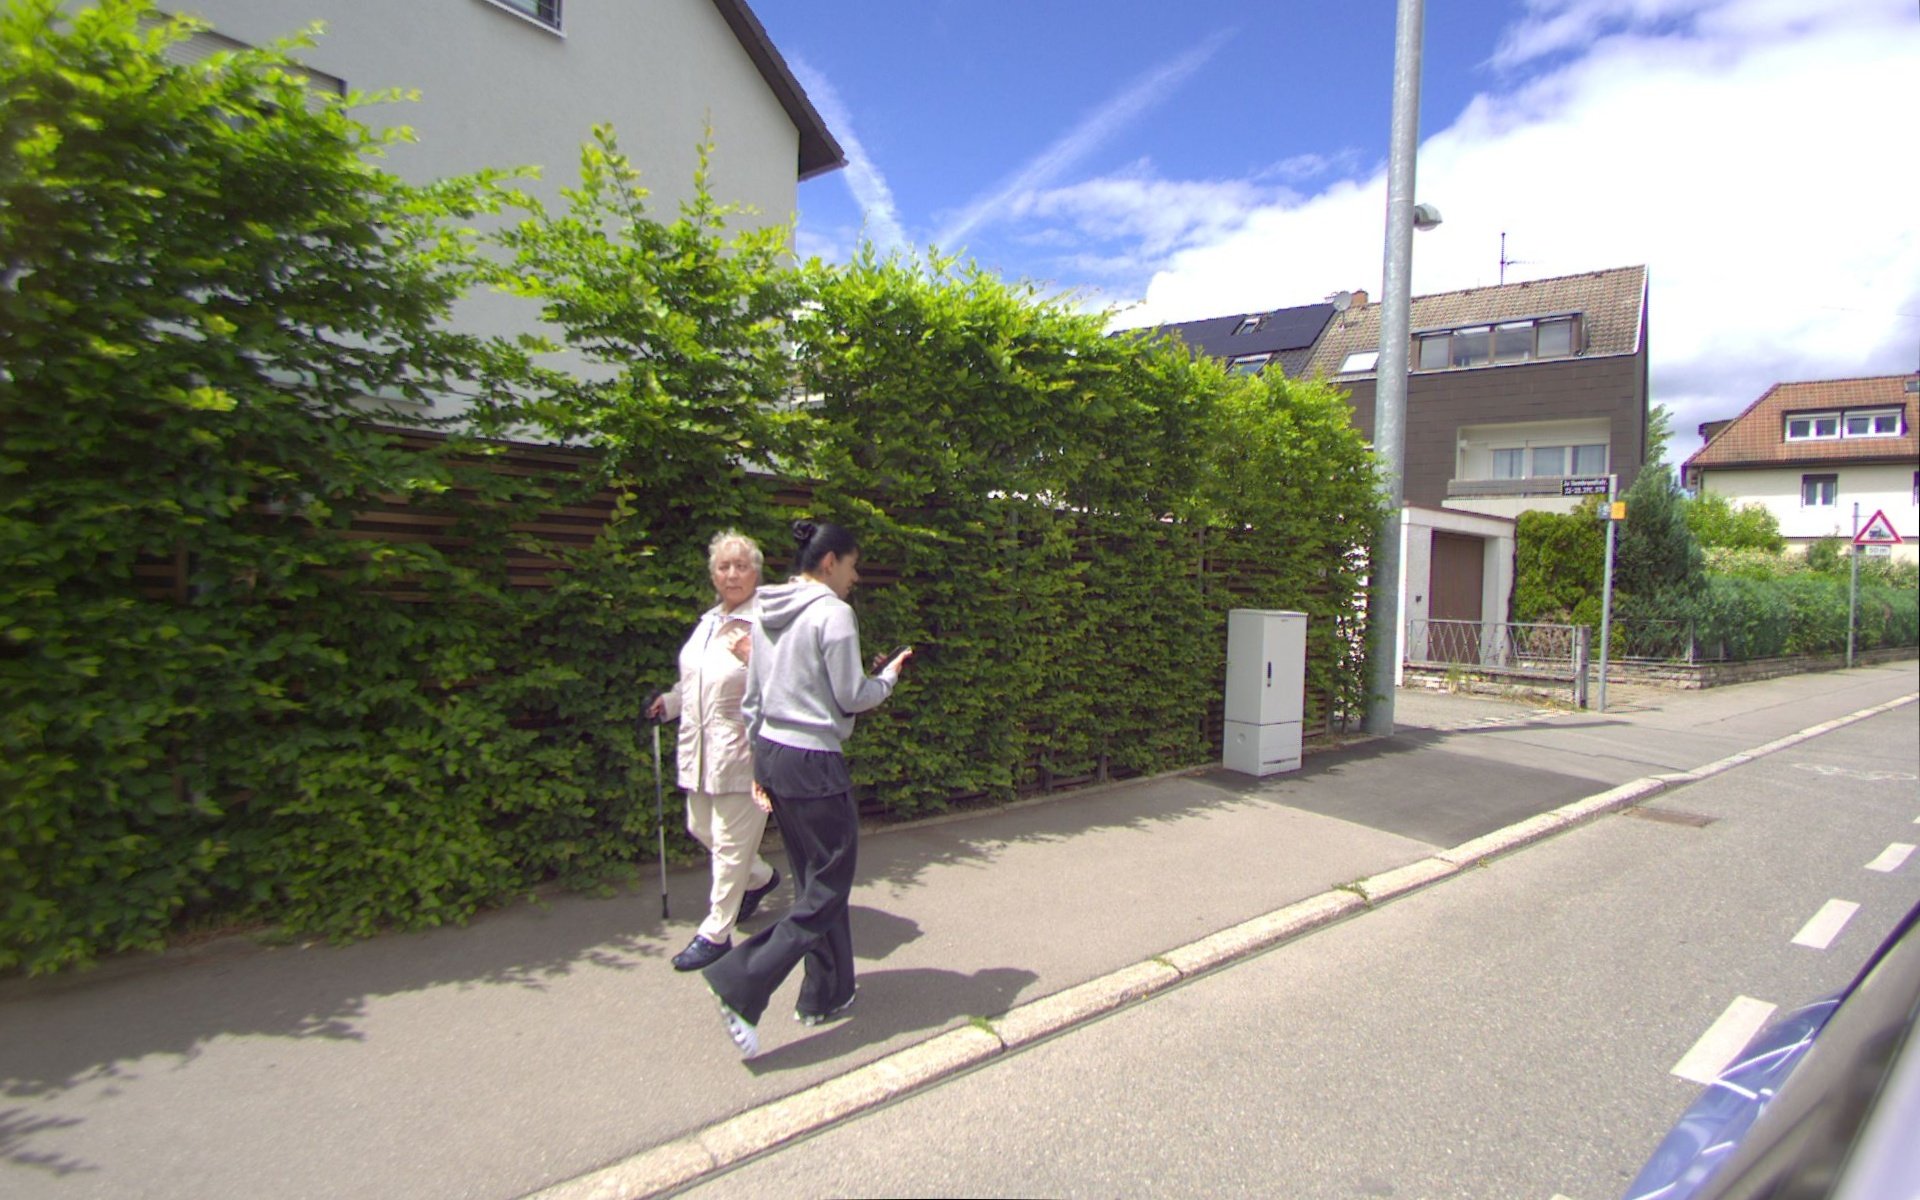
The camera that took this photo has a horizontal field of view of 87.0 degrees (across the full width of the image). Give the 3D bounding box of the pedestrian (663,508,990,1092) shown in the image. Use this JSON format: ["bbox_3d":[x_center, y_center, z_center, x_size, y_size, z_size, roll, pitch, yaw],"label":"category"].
[{"bbox_3d":[-0.434,0.542,3.294,0.821,1.625,0.604,0,3,-40],"label":"pedestrian"}]

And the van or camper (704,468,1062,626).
[{"bbox_3d":[-2.004,-1.081,24.403,8.596,3.344,2.397,-1,0,26],"label":"van or camper"}]

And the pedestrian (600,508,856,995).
[{"bbox_3d":[-0.910,0.493,3.902,0.642,1.637,0.801,0,2,-40],"label":"pedestrian"}]
